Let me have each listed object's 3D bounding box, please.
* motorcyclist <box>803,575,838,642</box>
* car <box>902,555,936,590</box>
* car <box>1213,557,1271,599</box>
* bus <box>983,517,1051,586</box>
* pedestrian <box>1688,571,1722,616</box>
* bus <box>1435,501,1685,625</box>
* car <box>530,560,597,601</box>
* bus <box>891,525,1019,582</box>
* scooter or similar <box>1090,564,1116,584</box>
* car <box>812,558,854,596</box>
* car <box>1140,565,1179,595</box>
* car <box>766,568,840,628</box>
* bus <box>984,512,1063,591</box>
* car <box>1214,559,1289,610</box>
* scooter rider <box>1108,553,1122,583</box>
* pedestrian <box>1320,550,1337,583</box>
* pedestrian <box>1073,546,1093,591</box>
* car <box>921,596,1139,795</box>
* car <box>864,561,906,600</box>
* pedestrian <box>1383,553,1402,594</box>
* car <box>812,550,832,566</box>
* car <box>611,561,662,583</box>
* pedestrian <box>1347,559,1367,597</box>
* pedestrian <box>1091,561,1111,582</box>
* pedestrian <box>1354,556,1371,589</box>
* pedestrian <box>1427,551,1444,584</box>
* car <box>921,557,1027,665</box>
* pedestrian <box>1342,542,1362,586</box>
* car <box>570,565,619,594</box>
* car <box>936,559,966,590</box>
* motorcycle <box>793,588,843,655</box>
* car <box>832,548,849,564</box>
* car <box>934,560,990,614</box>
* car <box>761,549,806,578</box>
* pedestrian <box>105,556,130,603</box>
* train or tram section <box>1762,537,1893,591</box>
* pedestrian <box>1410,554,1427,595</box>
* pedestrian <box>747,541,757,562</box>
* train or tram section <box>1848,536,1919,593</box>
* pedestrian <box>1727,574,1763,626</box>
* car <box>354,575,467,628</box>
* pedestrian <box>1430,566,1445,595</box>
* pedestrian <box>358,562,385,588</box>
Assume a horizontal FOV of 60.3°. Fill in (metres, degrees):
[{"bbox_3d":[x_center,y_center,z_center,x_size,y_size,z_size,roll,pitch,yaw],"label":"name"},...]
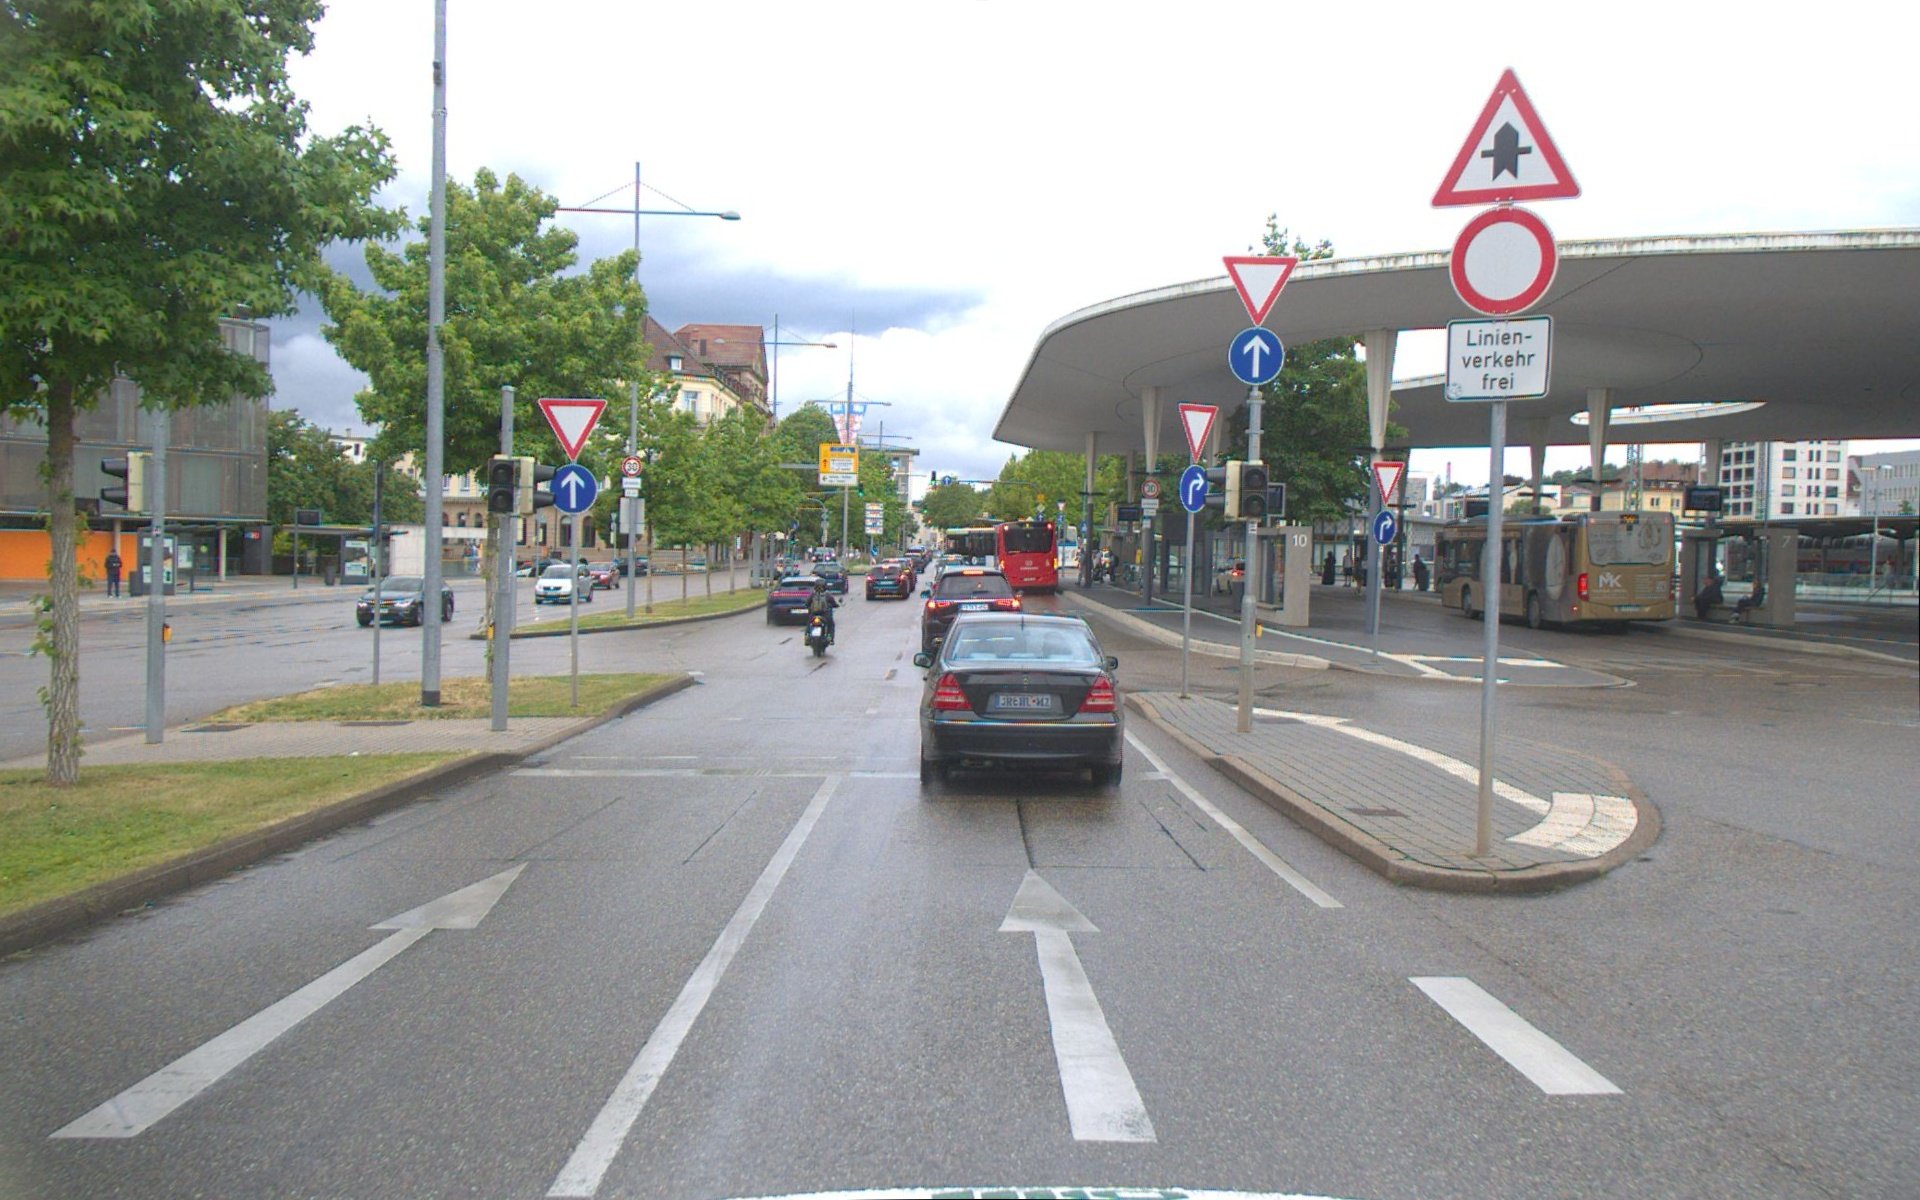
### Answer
[{"bbox_3d":[-2.896,0.163,34.434,0.628,1.371,0.689,0,1,3],"label":"motorcyclist"},{"bbox_3d":[-1.929,-1.341,78.854,1.543,1.594,3.871,-2,2,-1],"label":"car"},{"bbox_3d":[12.261,-0.987,72.163,1.677,1.691,4.239,1,1,-2],"label":"car"},{"bbox_3d":[2.821,-2.477,84.898,3.223,3.346,8.850,0,2,0],"label":"bus"},{"bbox_3d":[21.200,-0.184,47.075,0.776,1.248,0.634,0,1,17],"label":"pedestrian"},{"bbox_3d":[16.746,-1.093,47.410,2.666,3.096,12.089,0,1,-1],"label":"bus"},{"bbox_3d":[-16.954,-0.859,70.876,1.809,1.681,4.419,1,1,-1],"label":"car"},{"bbox_3d":[-0.524,-3.432,122.911,2.820,4.057,11.695,0,1,-39],"label":"bus"},{"bbox_3d":[7.175,-1.304,83.023,1.216,1.030,0.765,1,1,13],"label":"scooter or similar"},{"bbox_3d":[-5.885,-1.083,76.812,1.642,1.651,3.871,-2,2,-1],"label":"car"},{"bbox_3d":[11.829,-1.186,98.112,1.677,1.691,4.239,1,1,-1],"label":"car"},{"bbox_3d":[-4.651,-0.098,49.566,1.779,1.597,4.404,-2,2,-1],"label":"car"},{"bbox_3d":[2.768,-2.198,75.369,3.219,3.349,10.879,0,2,0],"label":"bus"},{"bbox_3d":[9.037,-0.498,51.504,1.614,1.478,3.237,1,2,-2],"label":"car"},{"bbox_3d":[7.754,-1.601,82.875,0.579,1.516,0.765,1,1,13],"label":"scooter rider"},{"bbox_3d":[18.522,-1.667,83.127,0.568,1.605,0.560,3,-3,29],"label":"pedestrian"},{"bbox_3d":[5.867,-1.506,78.868,0.761,2.047,0.783,3,4,12],"label":"pedestrian"},{"bbox_3d":[0.496,0.720,14.745,1.663,1.487,4.303,0,0,-1],"label":"car"},{"bbox_3d":[-3.126,-0.858,69.879,1.543,1.530,3.872,-2,2,0],"label":"car"},{"bbox_3d":[18.299,-1.129,70.041,0.549,1.721,0.613,1,1,-7],"label":"pedestrian"},{"bbox_3d":[-14.129,-4.322,169.334,1.744,1.594,3.430,-2,2,-1],"label":"car"},{"bbox_3d":[-23.879,-2.065,121.947,3.697,1.588,1.724,1,-1,39],"label":"car"},{"bbox_3d":[16.941,-0.951,70.546,0.587,1.609,0.710,0,-1,-10],"label":"pedestrian"},{"bbox_3d":[7.062,-1.421,82.884,0.894,1.002,0.634,2,-3,13],"label":"pedestrian"},{"bbox_3d":[20.323,-1.389,83.476,0.569,1.605,0.559,2,-3,34],"label":"pedestrian"},{"bbox_3d":[20.973,-1.428,72.935,0.549,1.469,0.613,1,1,-4],"label":"pedestrian"},{"bbox_3d":[0.239,0.146,33.008,1.917,1.908,4.874,-2,2,-1],"label":"car"},{"bbox_3d":[18.902,-1.754,79.681,0.709,2.049,0.669,3,-3,26],"label":"pedestrian"},{"bbox_3d":[-20.366,-1.148,92.272,1.785,1.579,4.033,0,1,1],"label":"car"},{"bbox_3d":[-0.511,-1.421,90.903,1.543,1.594,3.871,-2,2,-1],"label":"car"},{"bbox_3d":[-2.926,0.424,34.278,0.776,1.284,1.856,-1,2,3],"label":"motorcycle"},{"bbox_3d":[-12.657,-4.692,175.627,1.543,1.594,3.430,-2,2,-1],"label":"car"},{"bbox_3d":[0.037,-0.438,53.205,1.705,1.594,3.871,-2,2,-1],"label":"car"},{"bbox_3d":[-11.724,-2.425,109.377,1.840,1.713,3.973,4,-1,-22],"label":"car"},{"bbox_3d":[-31.058,-0.752,60.949,0.464,1.713,0.764,0,1,6],"label":"pedestrian"},{"bbox_3d":[66.112,-2.786,126.454,3.068,3.722,12.322,4,2,-1],"label":"train or tram section"},{"bbox_3d":[21.522,-1.197,77.607,0.578,1.907,0.715,2,2,28],"label":"pedestrian"},{"bbox_3d":[-19.572,-4.572,155.737,0.715,2.048,0.819,-1,1,-27],"label":"pedestrian"},{"bbox_3d":[66.351,-2.415,114.435,3.068,3.722,11.615,4,2,-1],"label":"train or tram section"},{"bbox_3d":[21.294,-0.002,44.848,0.776,1.401,0.634,0,1,17],"label":"pedestrian"},{"bbox_3d":[-16.872,0.009,51.024,1.809,1.530,4.920,1,1,0],"label":"car"},{"bbox_3d":[20.609,-0.844,71.398,0.450,1.272,0.562,2,2,28],"label":"pedestrian"},{"bbox_3d":[-30.965,-1.344,87.066,0.956,1.289,0.850,5,3,20],"label":"pedestrian"}]
